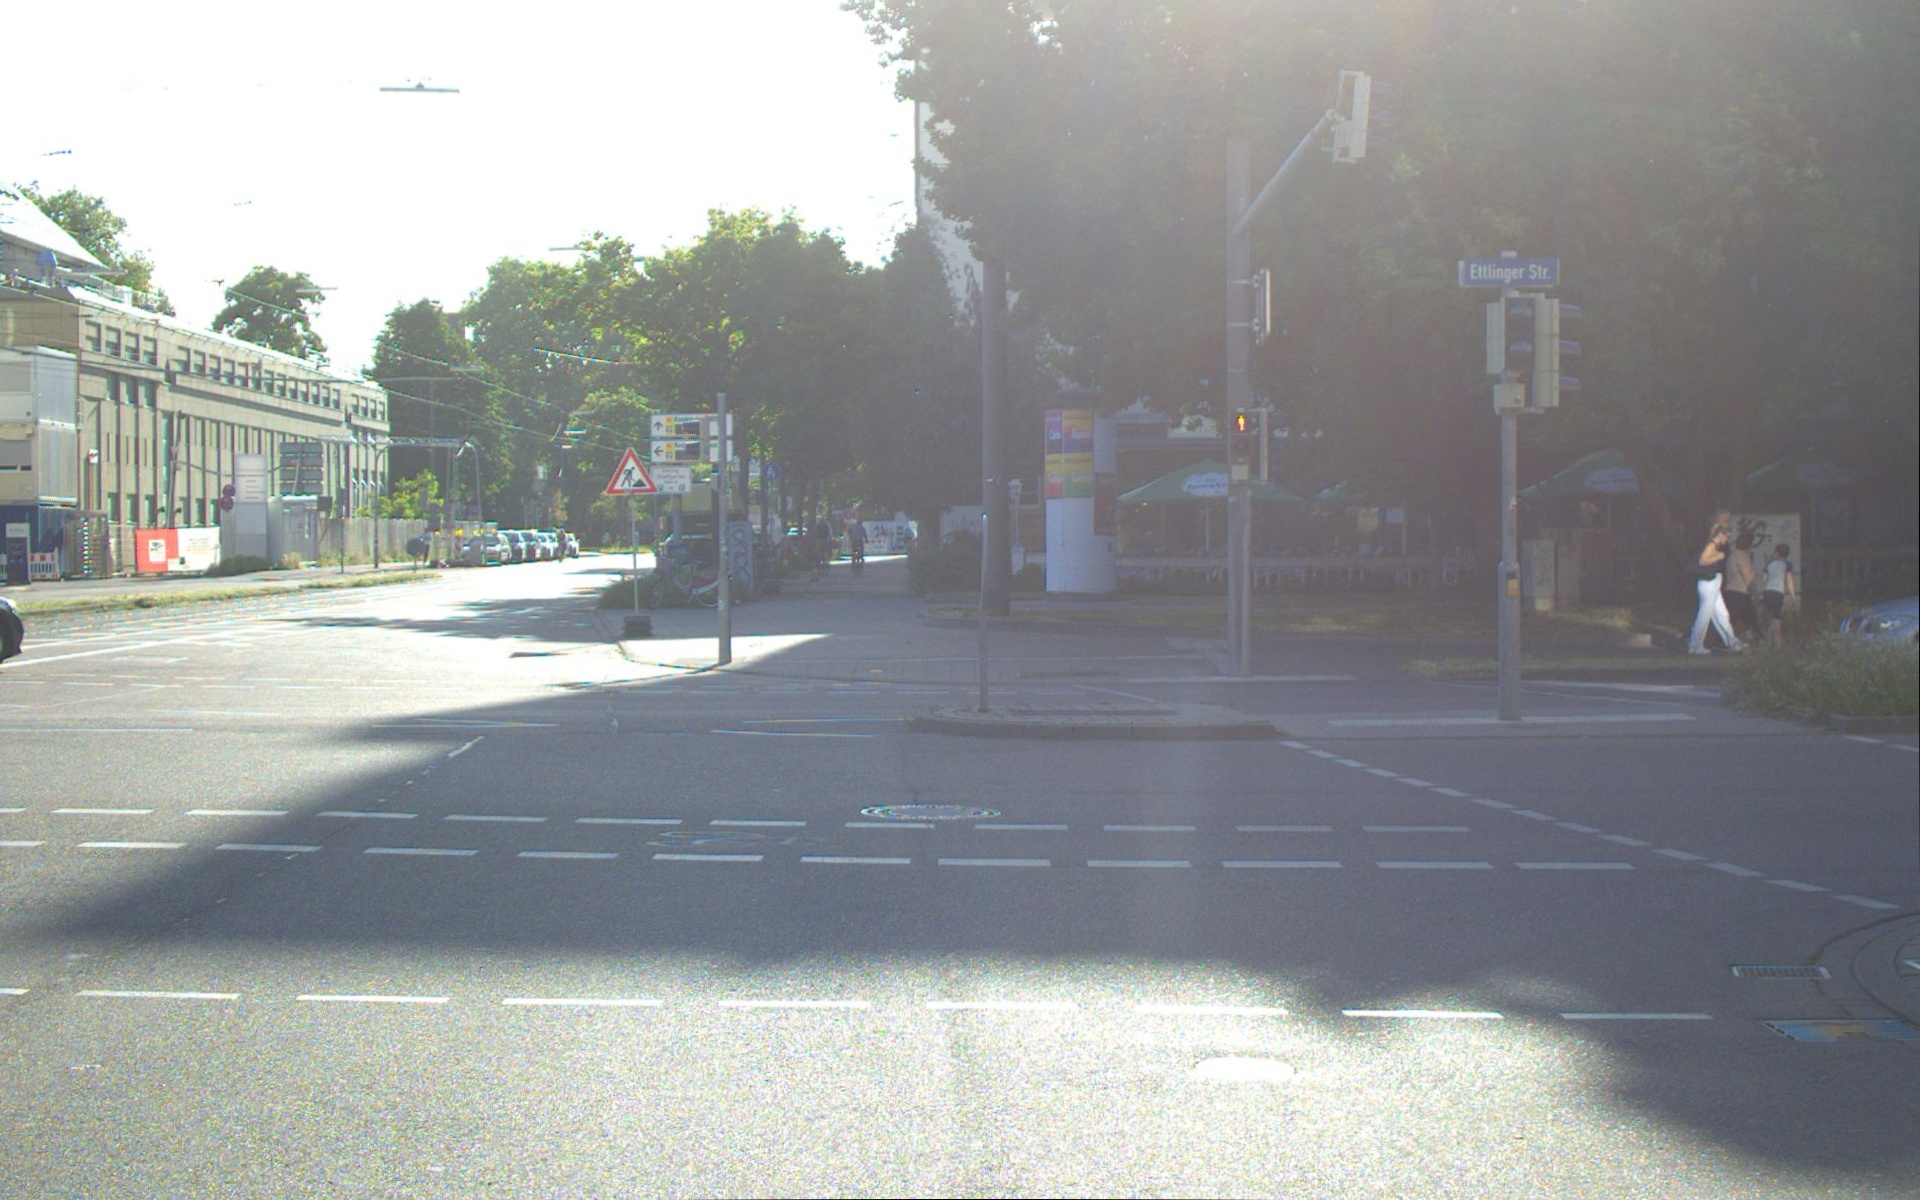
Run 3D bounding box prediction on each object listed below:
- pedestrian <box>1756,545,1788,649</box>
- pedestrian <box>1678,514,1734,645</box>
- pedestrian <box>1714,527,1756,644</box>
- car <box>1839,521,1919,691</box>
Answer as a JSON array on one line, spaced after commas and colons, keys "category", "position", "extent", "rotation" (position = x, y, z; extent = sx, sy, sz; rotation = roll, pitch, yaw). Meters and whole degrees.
[{"category": "pedestrian", "position": [10.298, -0.040, 43.604], "extent": [0.317, 1.311, 0.345], "rotation": [1, 2, 2]}, {"category": "pedestrian", "position": [9.534, -0.266, 43.963], "extent": [0.583, 1.657, 0.514], "rotation": [1, 2, 2]}, {"category": "pedestrian", "position": [10.021, -0.194, 44.472], "extent": [0.439, 1.498, 0.437], "rotation": [0, 1, 1]}, {"category": "car", "position": [10.761, 0.025, 33.422], "extent": [3.993, 1.605, 1.650], "rotation": [-1, 1, -1]}]
